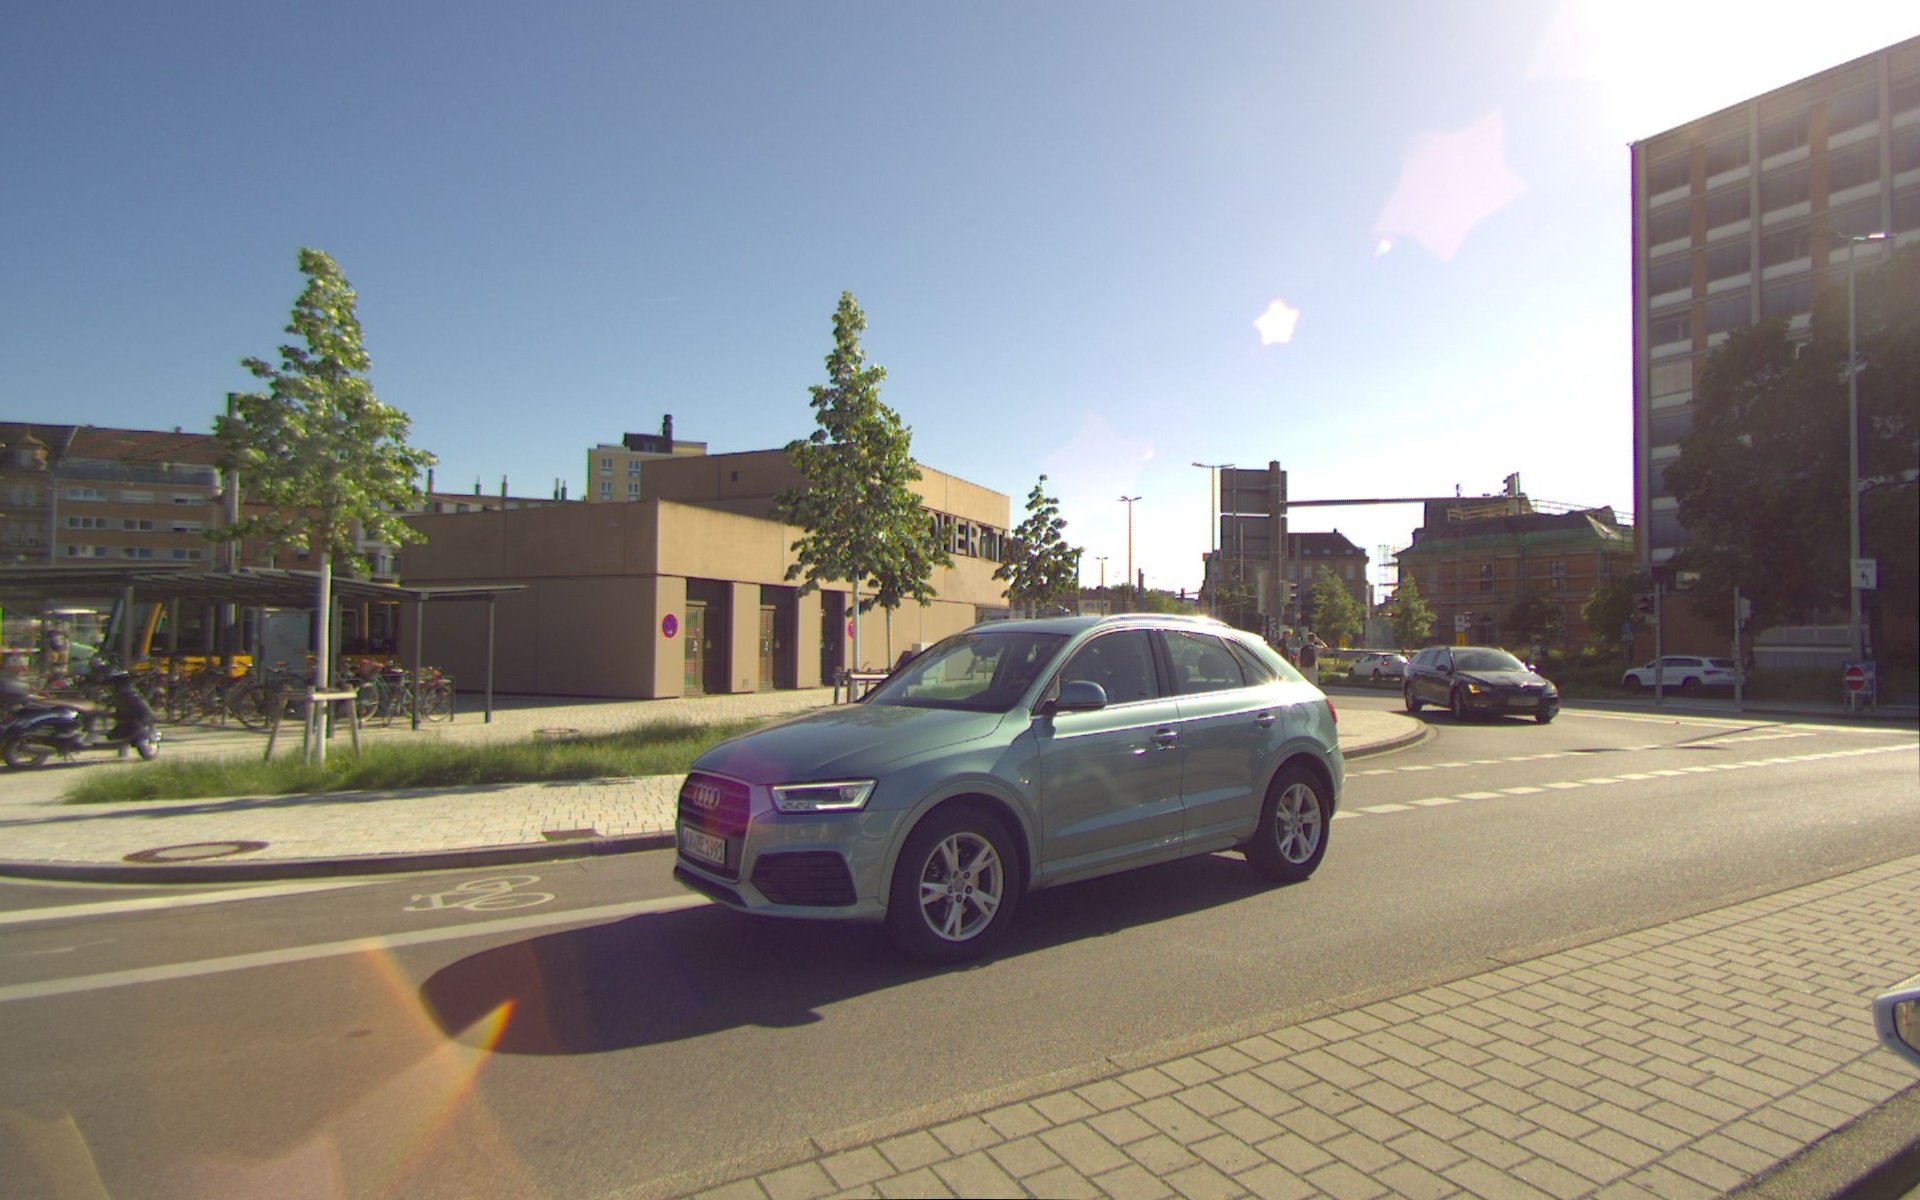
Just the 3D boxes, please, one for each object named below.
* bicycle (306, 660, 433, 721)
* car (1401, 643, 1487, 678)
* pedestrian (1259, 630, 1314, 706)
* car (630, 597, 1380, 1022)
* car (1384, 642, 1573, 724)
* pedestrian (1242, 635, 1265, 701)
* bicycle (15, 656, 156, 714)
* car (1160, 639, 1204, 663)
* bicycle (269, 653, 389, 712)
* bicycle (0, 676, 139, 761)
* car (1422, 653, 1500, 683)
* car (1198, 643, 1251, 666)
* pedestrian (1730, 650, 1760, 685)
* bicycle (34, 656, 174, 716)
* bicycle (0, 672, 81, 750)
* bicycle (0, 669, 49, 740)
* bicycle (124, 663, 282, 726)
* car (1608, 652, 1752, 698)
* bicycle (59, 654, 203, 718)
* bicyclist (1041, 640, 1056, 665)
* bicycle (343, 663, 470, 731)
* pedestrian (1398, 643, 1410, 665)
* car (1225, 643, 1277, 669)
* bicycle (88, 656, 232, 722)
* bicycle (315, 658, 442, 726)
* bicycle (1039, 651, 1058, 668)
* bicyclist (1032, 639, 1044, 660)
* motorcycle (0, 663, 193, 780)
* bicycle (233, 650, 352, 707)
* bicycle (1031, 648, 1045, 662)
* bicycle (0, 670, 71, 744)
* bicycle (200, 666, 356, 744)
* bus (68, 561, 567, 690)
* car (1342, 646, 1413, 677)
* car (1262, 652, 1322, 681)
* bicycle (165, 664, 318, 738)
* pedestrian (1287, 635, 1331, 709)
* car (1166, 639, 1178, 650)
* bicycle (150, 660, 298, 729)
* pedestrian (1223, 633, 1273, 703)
[{"bbox_3d":[-11.617,1.753,19.845,0.679,1.011,2.140,2,0,26],"label":"bicycle"},{"bbox_3d":[24.525,3.029,51.072,1.810,1.653,4.382,1,-2,-8],"label":"car"},{"bbox_3d":[8.058,1.689,24.823,1.085,1.822,0.703,3,-5,-18],"label":"pedestrian"},{"bbox_3d":[0.478,0.889,5.831,4.220,1.602,1.774,2,-4,-38],"label":"car"},{"bbox_3d":[10.838,1.727,21.449,1.783,1.524,4.788,-1,-3,4],"label":"car"},{"bbox_3d":[7.905,1.827,27.076,0.585,1.751,0.580,0,-2,14],"label":"pedestrian"},{"bbox_3d":[-17.758,1.696,20.457,0.524,1.051,2.070,5,0,26],"label":"bicycle"},{"bbox_3d":[16.596,3.803,75.260,1.810,1.653,4.382,1,-2,-8],"label":"car"},{"bbox_3d":[-12.729,1.645,20.328,0.524,1.051,2.070,2,0,26],"label":"bicycle"},{"bbox_3d":[-12.189,1.572,13.578,0.399,0.985,1.683,2,0,22],"label":"bicycle"},{"bbox_3d":[26.727,3.622,53.735,1.712,1.454,3.841,1,-2,-12],"label":"car"},{"bbox_3d":[17.473,3.618,66.682,1.809,1.406,4.897,1,-2,-6],"label":"car"},{"bbox_3d":[36.030,3.118,46.118,0.549,1.591,0.862,0,-4,-9],"label":"pedestrian"},{"bbox_3d":[-16.870,1.675,19.849,0.524,1.051,2.070,-2,-2,26],"label":"bicycle"},{"bbox_3d":[-13.216,1.542,13.813,0.399,0.985,1.683,2,0,22],"label":"bicycle"},{"bbox_3d":[-14.187,1.524,14.376,0.399,0.985,1.683,2,0,22],"label":"bicycle"},{"bbox_3d":[-13.695,1.676,18.262,0.673,0.956,2.233,2,0,25],"label":"bicycle"},{"bbox_3d":[29.401,3.015,41.221,1.812,1.653,4.827,1,-2,-13],"label":"car"},{"bbox_3d":[-15.888,1.622,19.321,0.524,1.051,2.070,5,1,26],"label":"bicycle"},{"bbox_3d":[5.484,3.239,62.221,0.727,1.519,1.071,1,-3,-7],"label":"bicyclist"},{"bbox_3d":[-9.953,1.719,18.162,0.524,1.051,2.070,2,0,26],"label":"bicycle"},{"bbox_3d":[32.529,3.962,73.611,0.636,1.637,0.548,0,-2,10],"label":"pedestrian"},{"bbox_3d":[20.056,3.833,69.432,1.810,1.653,4.382,1,-2,-8],"label":"car"},{"bbox_3d":[-15.003,1.639,18.906,0.524,1.051,2.070,5,1,26],"label":"bicycle"},{"bbox_3d":[-10.783,1.681,18.699,0.594,1.093,2.053,2,0,25],"label":"bicycle"},{"bbox_3d":[5.479,3.697,62.198,0.727,1.008,1.989,1,-4,-7],"label":"bicycle"},{"bbox_3d":[5.406,3.456,69.924,0.674,1.440,1.127,0,-3,-5],"label":"bicyclist"},{"bbox_3d":[-10.835,1.445,12.477,0.558,1.235,2.087,0,-1,21],"label":"motorcycle"},{"bbox_3d":[-13.903,1.613,20.993,0.524,1.051,2.070,2,0,26],"label":"bicycle"},{"bbox_3d":[5.401,3.811,69.901,0.674,0.930,1.990,0,-4,-4],"label":"bicycle"},{"bbox_3d":[-13.682,1.530,14.174,0.399,0.985,1.683,2,0,22],"label":"bicycle"},{"bbox_3d":[-10.889,1.648,16.134,0.524,1.051,2.070,2,0,26],"label":"bicycle"},{"bbox_3d":[-18.521,0.861,31.136,2.810,3.112,13.620,0,-2,25],"label":"bus"},{"bbox_3d":[21.723,3.180,52.408,1.711,1.454,3.844,1,-2,-8],"label":"car"},{"bbox_3d":[20.715,4.126,62.887,1.810,1.653,4.382,1,-2,-8],"label":"car"},{"bbox_3d":[-11.971,1.651,16.820,0.524,1.051,2.070,2,0,26],"label":"bicycle"},{"bbox_3d":[8.314,1.714,23.926,0.782,1.711,0.786,-2,-6,38],"label":"pedestrian"},{"bbox_3d":[42.150,8.884,199.908,1.959,2.040,4.003,0,-2,7],"label":"car"},{"bbox_3d":[-12.885,1.628,17.657,0.524,1.051,2.070,2,0,26],"label":"bicycle"},{"bbox_3d":[7.293,1.728,25.442,0.831,1.711,0.896,5,-5,-34],"label":"pedestrian"}]
